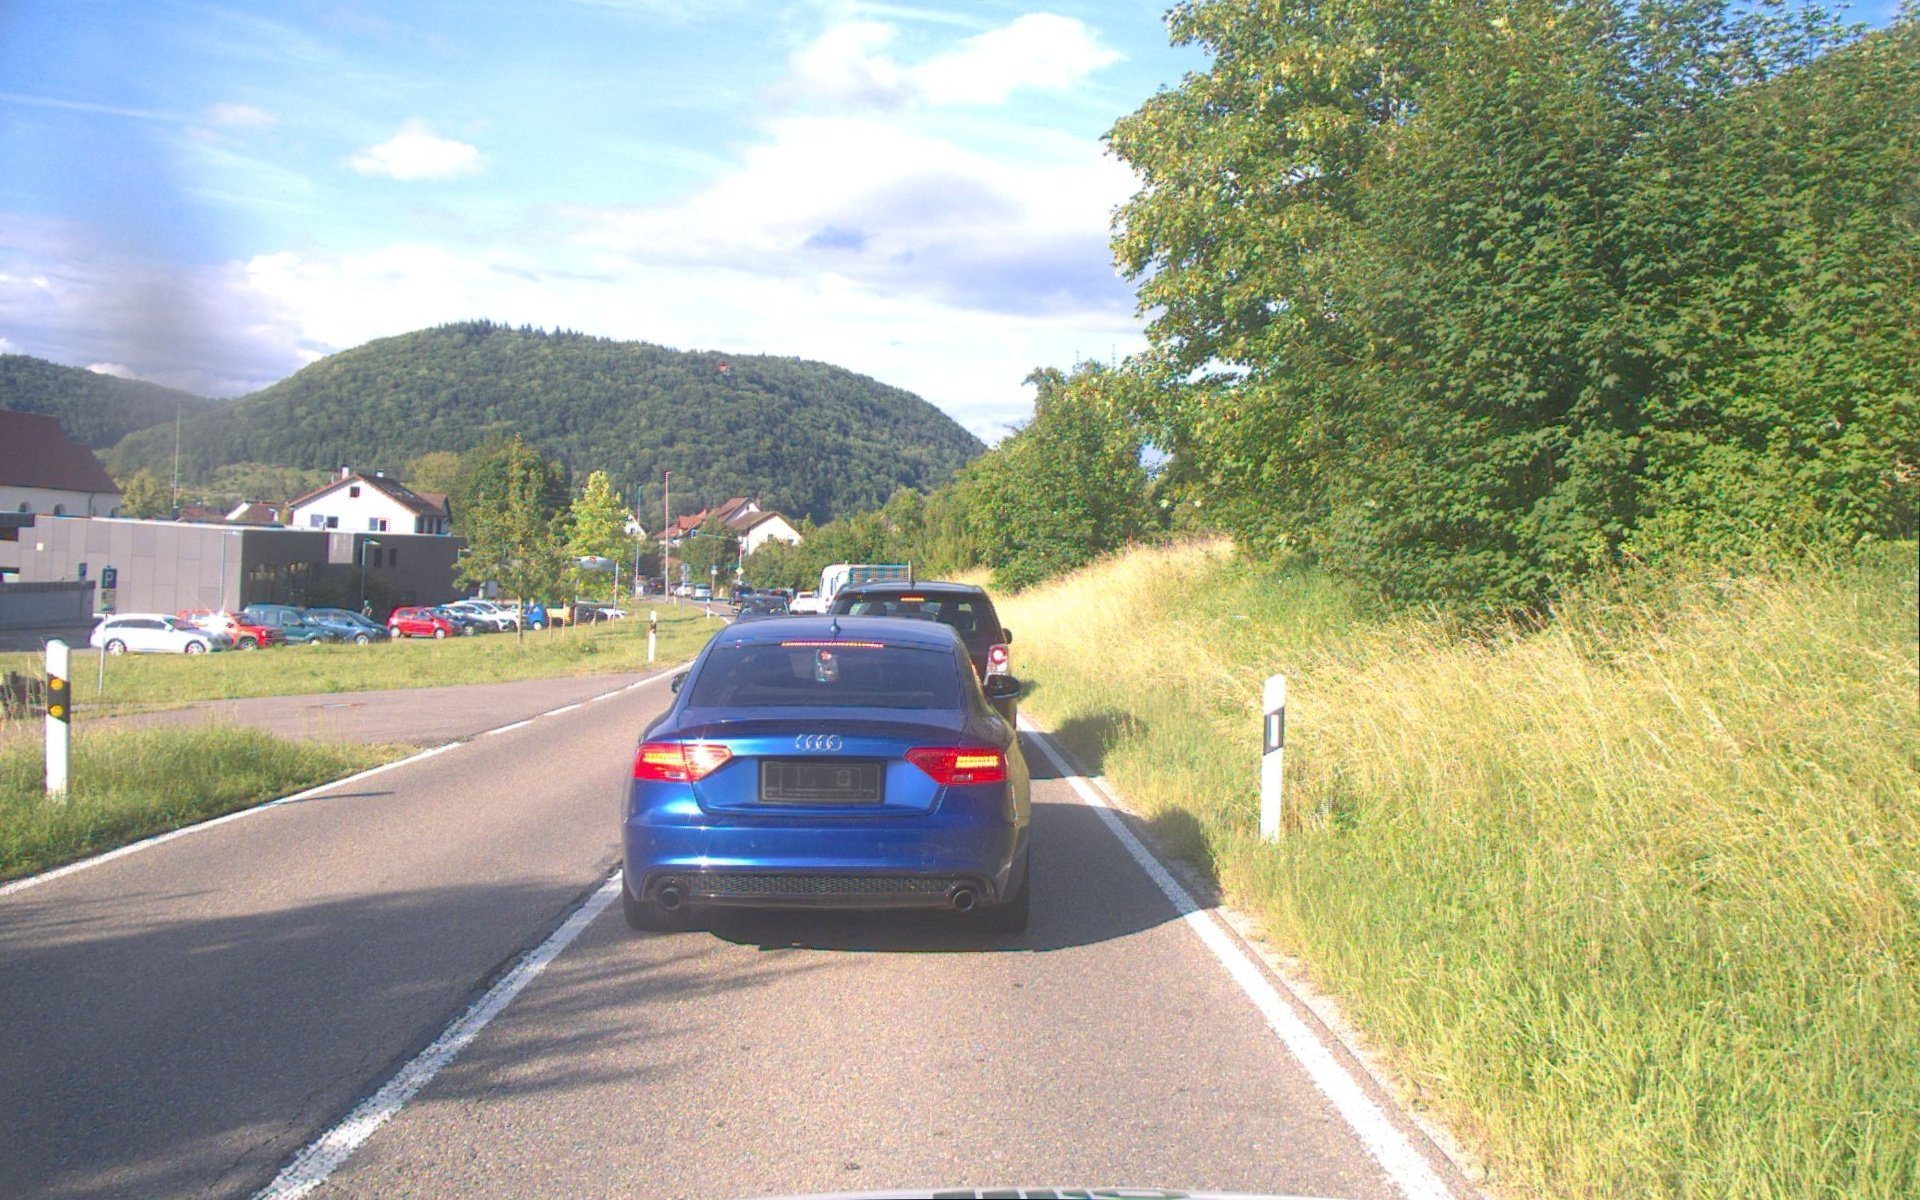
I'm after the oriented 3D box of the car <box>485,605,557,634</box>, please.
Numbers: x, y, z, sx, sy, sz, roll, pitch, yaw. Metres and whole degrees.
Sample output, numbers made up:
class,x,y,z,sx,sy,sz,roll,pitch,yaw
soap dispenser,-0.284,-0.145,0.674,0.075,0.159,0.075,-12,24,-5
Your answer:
class,x,y,z,sx,sy,sz,roll,pitch,yaw
car,-26.764,1.183,100.933,3.907,1.741,1.999,1,0,-3

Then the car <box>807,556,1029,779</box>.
class,x,y,z,sx,sy,sz,roll,pitch,yaw
car,-0.324,0.538,14.875,1.718,1.710,3.846,1,0,0

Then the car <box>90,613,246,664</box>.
class,x,y,z,sx,sy,sz,roll,pitch,yaw
car,-28.668,1.373,60.009,4.637,1.741,1.999,1,0,-3

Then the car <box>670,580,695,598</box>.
class,x,y,z,sx,sy,sz,roll,pitch,yaw
car,-27.426,-1.058,163.520,1.817,1.742,3.979,1,0,-19

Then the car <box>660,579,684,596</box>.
class,x,y,z,sx,sy,sz,roll,pitch,yaw
car,-30.193,-1.270,173.292,1.817,1.742,3.979,1,0,-19

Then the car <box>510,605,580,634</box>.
class,x,y,z,sx,sy,sz,roll,pitch,yaw
car,-25.989,1.209,103.619,3.907,1.741,1.999,1,0,-3

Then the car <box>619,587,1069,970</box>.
class,x,y,z,sx,sy,sz,roll,pitch,yaw
car,-0.445,0.701,8.324,1.718,1.455,3.846,1,0,0

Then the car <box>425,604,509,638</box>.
class,x,y,z,sx,sy,sz,roll,pitch,yaw
car,-26.260,1.128,88.213,3.907,1.741,1.999,1,0,-3

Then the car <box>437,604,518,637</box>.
class,x,y,z,sx,sy,sz,roll,pitch,yaw
car,-26.784,1.137,91.861,3.907,1.741,1.999,1,0,-3

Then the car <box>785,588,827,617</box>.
class,x,y,z,sx,sy,sz,roll,pitch,yaw
car,-8.411,0.144,89.956,1.813,1.508,3.988,1,0,-12

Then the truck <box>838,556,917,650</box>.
class,x,y,z,sx,sy,sz,roll,pitch,yaw
truck,-2.516,0.106,49.804,2.185,2.615,6.099,1,0,-3

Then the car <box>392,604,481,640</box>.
class,x,y,z,sx,sy,sz,roll,pitch,yaw
car,-26.453,1.102,83.659,3.907,1.741,1.999,1,0,-3

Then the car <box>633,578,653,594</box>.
class,x,y,z,sx,sy,sz,roll,pitch,yaw
car,-37.165,-1.642,193.962,1.817,1.742,3.979,1,0,-19

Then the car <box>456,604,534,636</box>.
class,x,y,z,sx,sy,sz,roll,pitch,yaw
car,-26.734,1.154,95.146,3.907,1.741,1.999,1,0,-3

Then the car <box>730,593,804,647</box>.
class,x,y,z,sx,sy,sz,roll,pitch,yaw
car,-5.452,0.553,47.110,1.669,1.455,4.049,1,0,-1

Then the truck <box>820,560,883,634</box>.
class,x,y,z,sx,sy,sz,roll,pitch,yaw
truck,-4.108,-0.080,62.481,2.186,2.615,6.702,1,0,-4

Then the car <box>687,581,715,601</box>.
class,x,y,z,sx,sy,sz,roll,pitch,yaw
car,-24.073,-0.833,153.786,1.819,1.742,3.975,1,0,-21

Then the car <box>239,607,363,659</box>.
class,x,y,z,sx,sy,sz,roll,pitch,yaw
car,-27.384,1.369,68.848,4.318,2.043,1.999,1,0,-3

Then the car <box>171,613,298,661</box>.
class,x,y,z,sx,sy,sz,roll,pitch,yaw
car,-27.606,1.406,63.034,3.907,1.741,1.999,1,0,-3

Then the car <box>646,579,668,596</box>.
class,x,y,z,sx,sy,sz,roll,pitch,yaw
car,-33.843,-1.393,184.580,1.817,1.742,3.979,1,0,-19

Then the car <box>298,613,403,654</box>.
class,x,y,z,sx,sy,sz,roll,pitch,yaw
car,-26.992,1.467,73.357,3.907,1.741,1.999,1,0,-3

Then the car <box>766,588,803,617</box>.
class,x,y,z,sx,sy,sz,roll,pitch,yaw
car,-10.924,0.165,102.638,1.814,1.742,3.987,1,0,-13

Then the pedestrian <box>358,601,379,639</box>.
class,x,y,z,sx,sy,sz,roll,pitch,yaw
pedestrian,-32.615,1.096,91.235,0.808,2.049,0.973,1,-1,-1

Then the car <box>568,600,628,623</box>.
class,x,y,z,sx,sy,sz,roll,pitch,yaw
car,-25.843,0.832,118.187,3.907,1.606,1.751,1,0,-3
